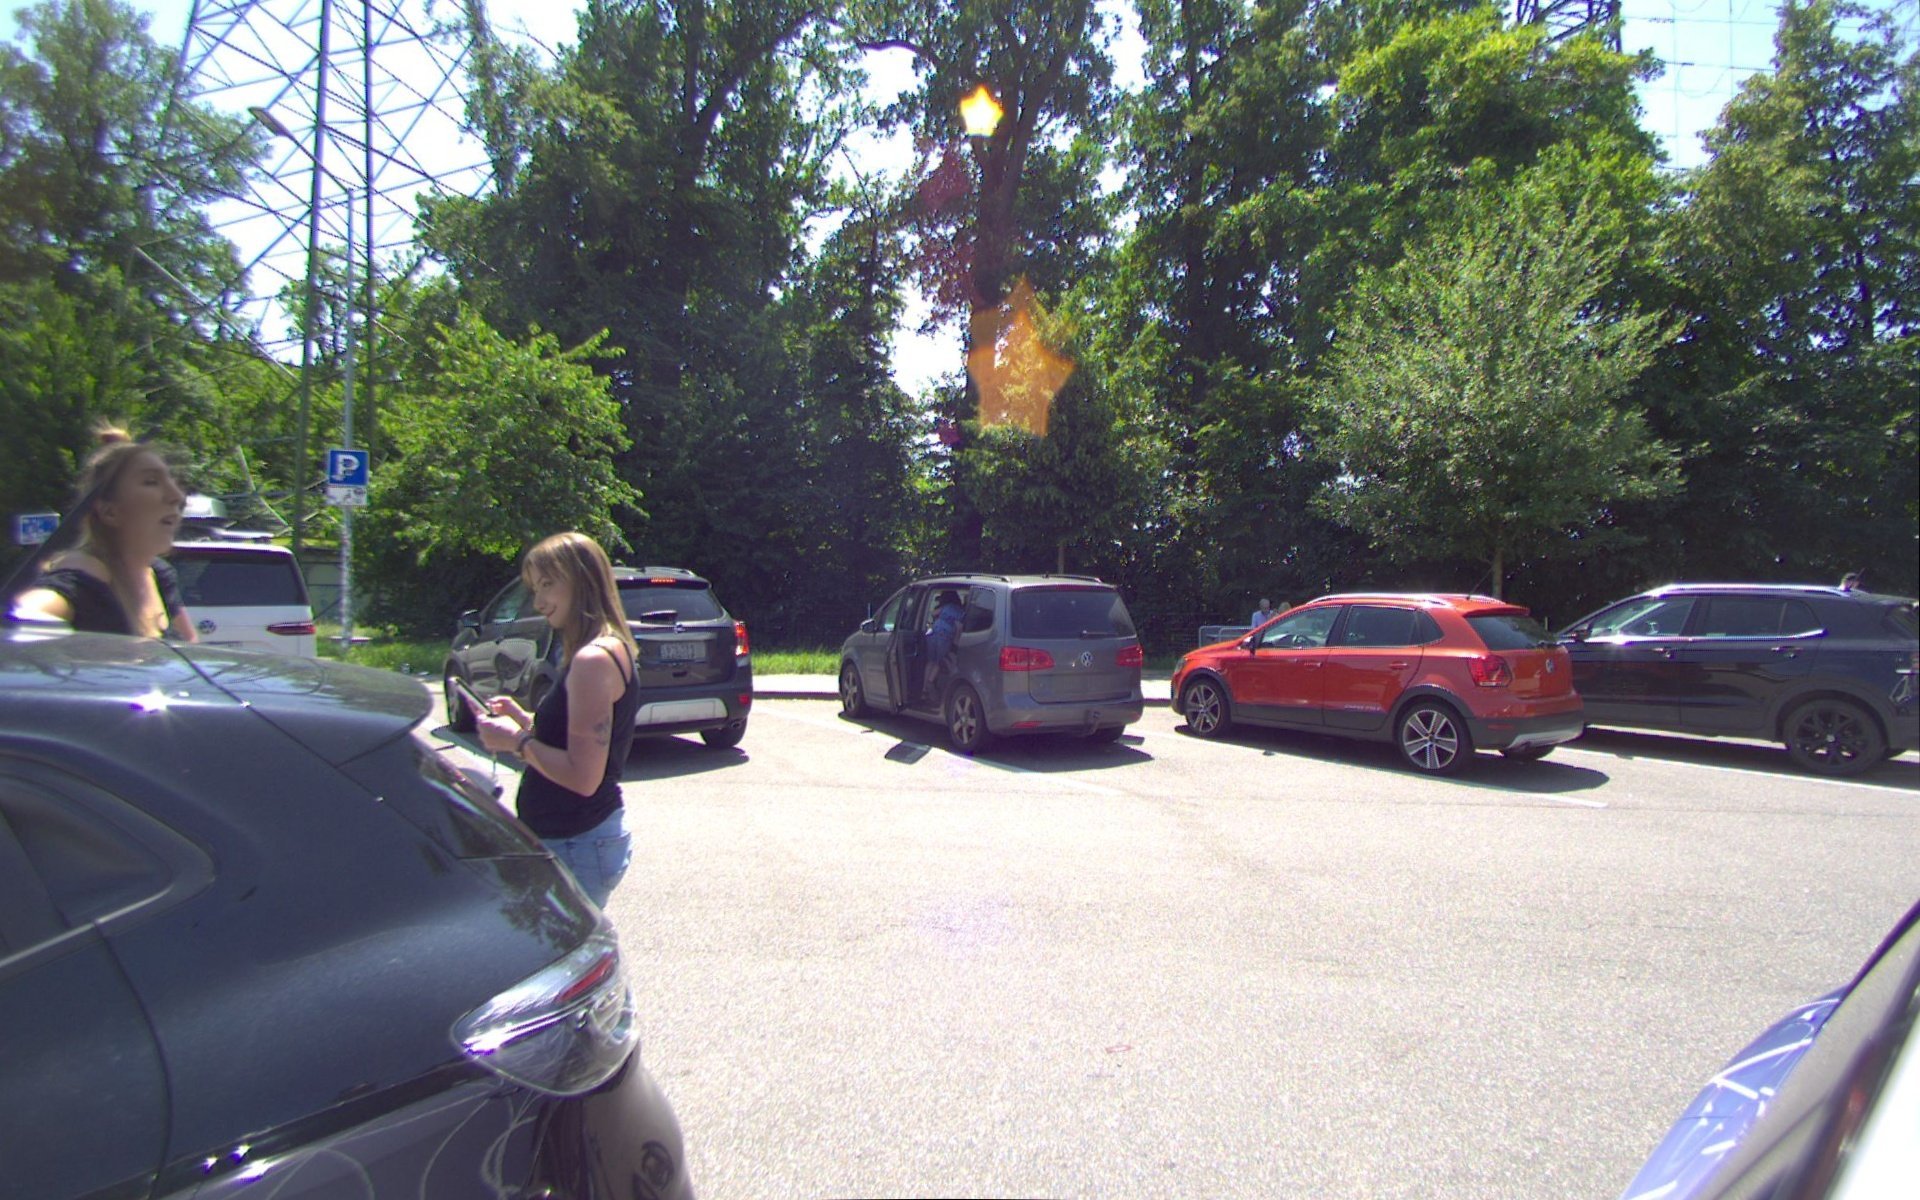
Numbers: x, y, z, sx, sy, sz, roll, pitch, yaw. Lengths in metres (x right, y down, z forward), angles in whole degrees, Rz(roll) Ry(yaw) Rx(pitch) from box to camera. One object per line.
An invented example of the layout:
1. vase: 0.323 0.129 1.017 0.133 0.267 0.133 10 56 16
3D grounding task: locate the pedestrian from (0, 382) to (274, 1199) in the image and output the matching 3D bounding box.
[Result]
1. pedestrian: -1.930 0.529 2.373 0.478 1.883 0.913 1 -1 -33

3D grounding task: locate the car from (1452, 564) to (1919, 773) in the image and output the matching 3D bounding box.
1. car: 7.079 0.534 9.770 1.679 1.637 3.863 1 0 -40

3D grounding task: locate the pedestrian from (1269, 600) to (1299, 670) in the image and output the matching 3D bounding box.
1. pedestrian: 5.727 0.609 17.876 0.348 1.207 0.367 0 0 -20

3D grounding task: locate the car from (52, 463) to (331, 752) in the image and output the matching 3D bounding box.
1. car: -8.436 0.052 10.898 1.897 2.400 4.963 1 -1 -43

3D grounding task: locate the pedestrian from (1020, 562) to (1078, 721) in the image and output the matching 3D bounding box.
1. pedestrian: 1.004 0.451 11.441 0.500 1.744 0.438 0 0 -24

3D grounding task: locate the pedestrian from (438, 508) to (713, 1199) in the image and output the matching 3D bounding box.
1. pedestrian: -0.980 0.603 2.576 0.477 1.614 0.502 1 -1 -44

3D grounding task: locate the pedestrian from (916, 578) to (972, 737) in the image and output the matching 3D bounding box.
1. pedestrian: -0.168 0.550 9.983 0.511 1.516 0.560 0 0 -5

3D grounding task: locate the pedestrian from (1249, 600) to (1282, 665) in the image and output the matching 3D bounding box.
1. pedestrian: 5.757 0.599 19.063 0.433 1.207 0.414 0 0 -30

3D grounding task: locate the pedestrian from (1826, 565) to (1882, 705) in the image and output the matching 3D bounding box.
1. pedestrian: 12.996 0.498 14.720 0.570 1.979 0.425 0 -1 38

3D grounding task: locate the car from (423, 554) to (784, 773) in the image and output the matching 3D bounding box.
1. car: -3.595 0.470 9.725 1.807 1.637 4.159 1 0 -42

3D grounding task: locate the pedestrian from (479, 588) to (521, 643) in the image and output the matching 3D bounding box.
1. pedestrian: -11.195 0.367 24.639 0.539 1.318 0.758 0 0 37

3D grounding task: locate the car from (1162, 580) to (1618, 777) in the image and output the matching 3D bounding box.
1. car: 3.857 0.594 9.650 1.588 1.485 3.751 1 0 -34

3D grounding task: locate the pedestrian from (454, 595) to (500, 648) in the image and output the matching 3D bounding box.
1. pedestrian: -10.997 0.467 23.046 0.785 1.178 0.696 0 0 39

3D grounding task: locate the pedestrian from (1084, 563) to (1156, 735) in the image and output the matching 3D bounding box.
1. pedestrian: 1.673 0.493 10.626 0.576 1.744 0.483 0 0 -20

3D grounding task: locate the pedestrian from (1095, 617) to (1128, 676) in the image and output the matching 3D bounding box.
1. pedestrian: 2.363 0.720 15.749 0.494 0.890 0.512 0 0 10

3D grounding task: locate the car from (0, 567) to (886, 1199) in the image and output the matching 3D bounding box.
1. car: -2.000 0.718 0.829 1.777 1.476 3.627 0 1 45

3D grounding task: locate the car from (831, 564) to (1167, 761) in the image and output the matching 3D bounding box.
1. car: 0.197 0.509 10.561 1.670 1.637 3.912 0 0 -30
